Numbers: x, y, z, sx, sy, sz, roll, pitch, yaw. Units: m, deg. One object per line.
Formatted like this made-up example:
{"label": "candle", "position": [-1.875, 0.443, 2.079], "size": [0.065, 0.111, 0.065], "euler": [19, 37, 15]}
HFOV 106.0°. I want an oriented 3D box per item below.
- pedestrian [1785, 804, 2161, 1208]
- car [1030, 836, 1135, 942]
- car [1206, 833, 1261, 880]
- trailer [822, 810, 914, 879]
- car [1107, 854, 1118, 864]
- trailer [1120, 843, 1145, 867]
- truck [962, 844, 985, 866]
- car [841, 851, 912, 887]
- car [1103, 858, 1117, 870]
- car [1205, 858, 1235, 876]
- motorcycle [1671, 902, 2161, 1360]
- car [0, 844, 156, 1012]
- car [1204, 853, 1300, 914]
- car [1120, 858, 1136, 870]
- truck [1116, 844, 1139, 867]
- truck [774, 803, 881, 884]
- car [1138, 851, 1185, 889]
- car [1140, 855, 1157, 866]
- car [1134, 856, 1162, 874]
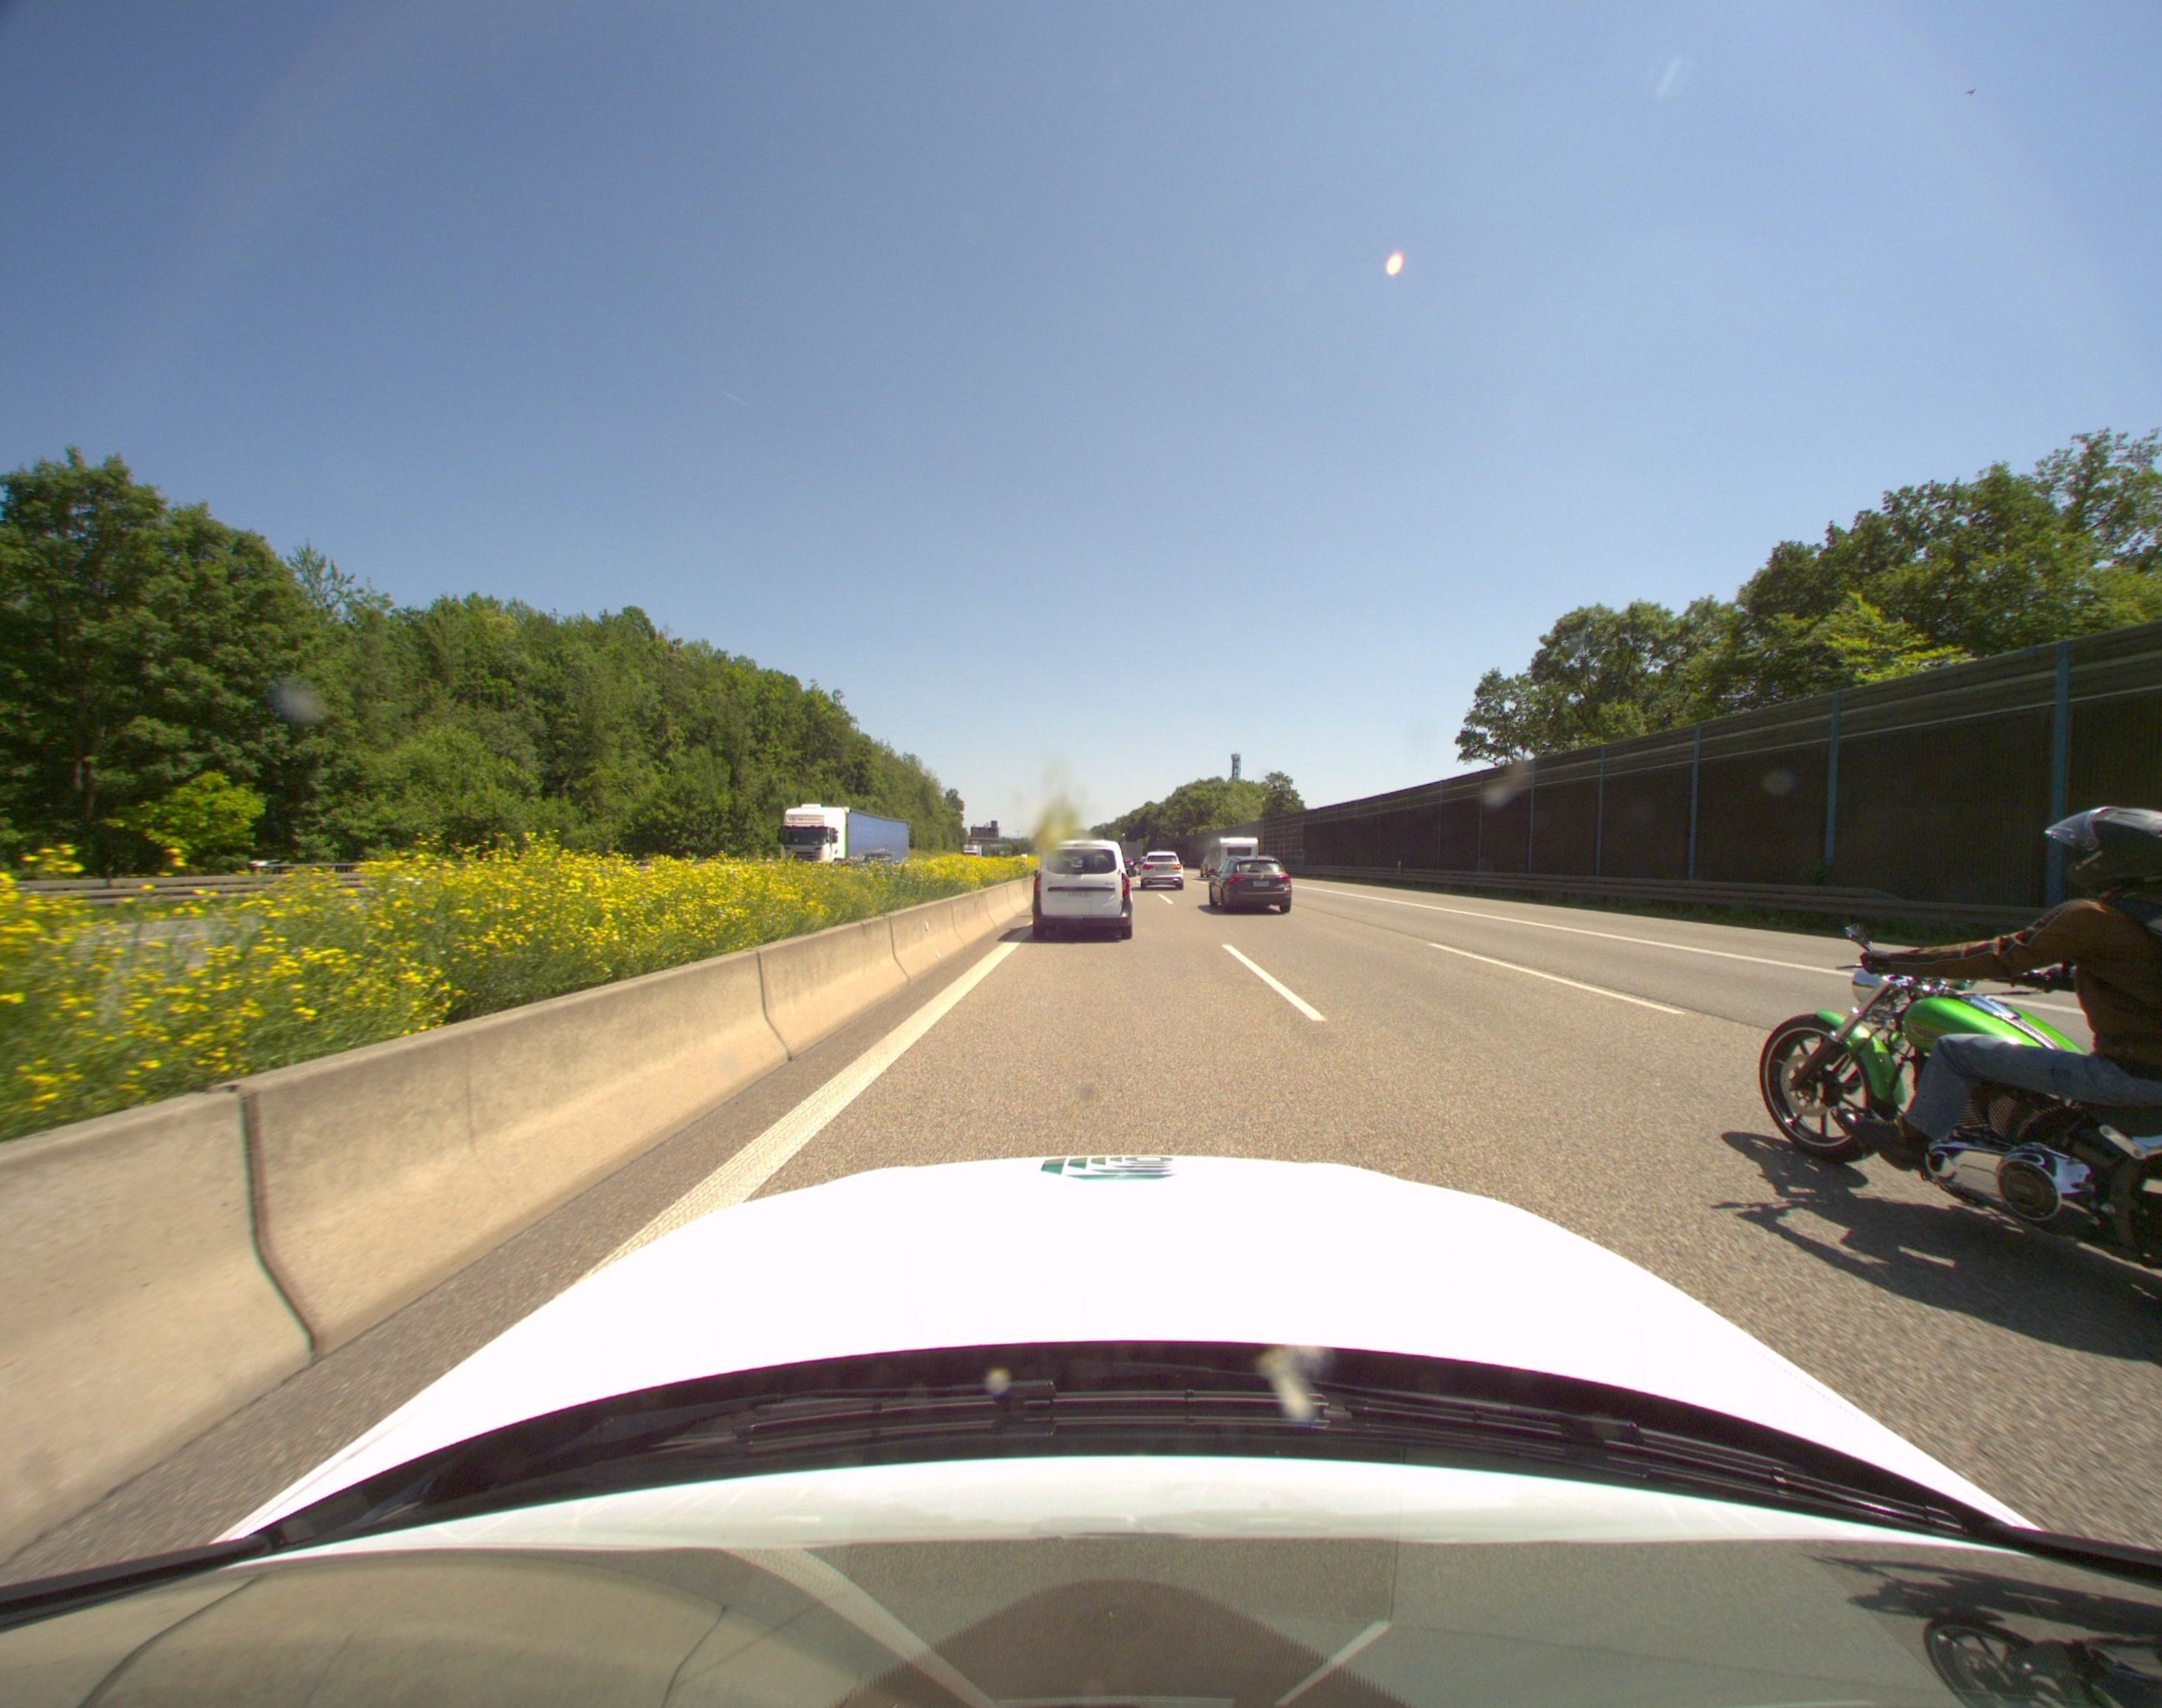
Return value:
{"label": "pedestrian", "position": [3.559, 0.554, 3.311], "size": [0.848, 1.479, 0.638], "euler": [0, 0, 1]}
{"label": "car", "position": [0.084, 0.616, 16.096], "size": [1.795, 1.808, 4.001], "euler": [-1, 0, 2]}
{"label": "car", "position": [9.559, 0.162, 51.619], "size": [2.470, 2.766, 6.220], "euler": [0, -1, 1]}
{"label": "trailer", "position": [-12.853, -0.525, 50.286], "size": [2.770, 3.857, 10.173], "euler": [0, 0, 2]}
{"label": "car", "position": [6.813, 1.114, 177.443], "size": [1.989, 2.014, 3.996], "euler": [0, 0, -2]}
{"label": "trailer", "position": [8.604, 0.240, 137.345], "size": [3.074, 3.986, 10.312], "euler": [0, -1, -3]}
{"label": "truck", "position": [-17.390, 0.180, 132.480], "size": [2.726, 3.475, 7.315], "euler": [0, 0, 1]}
{"label": "car", "position": [-9.418, 0.673, 37.899], "size": [1.986, 1.562, 4.641], "euler": [0, 0, 1]}
{"label": "car", "position": [4.617, 1.591, 130.266], "size": [1.819, 1.989, 3.997], "euler": [0, 0, -2]}
{"label": "car", "position": [11.439, 1.088, 67.006], "size": [1.818, 1.424, 4.000], "euler": [0, -1, 0]}
{"label": "motorcycle", "position": [3.541, 0.851, 3.204], "size": [0.856, 1.182, 2.277], "euler": [0, 0, 2]}
{"label": "car", "position": [-10.513, 0.654, 6.421], "size": [1.798, 1.489, 4.001], "euler": [0, 0, 1]}
{"label": "car", "position": [4.571, 0.721, 22.375], "size": [1.831, 1.513, 4.403], "euler": [0, 0, 2]}
{"label": "car", "position": [5.700, 1.274, 99.607], "size": [1.818, 1.424, 4.000], "euler": [0, -1, 0]}
{"label": "truck", "position": [8.258, 0.310, 145.158], "size": [3.074, 3.986, 9.636], "euler": [0, -1, -3]}
{"label": "truck", "position": [-13.052, -0.507, 42.820], "size": [2.738, 3.857, 8.416], "euler": [0, 0, 1]}
{"label": "car", "position": [3.552, 0.677, 36.656], "size": [1.864, 1.608, 3.880], "euler": [0, 0, 2]}
{"label": "car", "position": [9.299, 0.927, 112.464], "size": [1.820, 1.424, 3.996], "euler": [1, 0, -3]}
{"label": "car", "position": [5.512, 0.921, 67.352], "size": [1.820, 1.424, 3.996], "euler": [0, -1, -3]}
